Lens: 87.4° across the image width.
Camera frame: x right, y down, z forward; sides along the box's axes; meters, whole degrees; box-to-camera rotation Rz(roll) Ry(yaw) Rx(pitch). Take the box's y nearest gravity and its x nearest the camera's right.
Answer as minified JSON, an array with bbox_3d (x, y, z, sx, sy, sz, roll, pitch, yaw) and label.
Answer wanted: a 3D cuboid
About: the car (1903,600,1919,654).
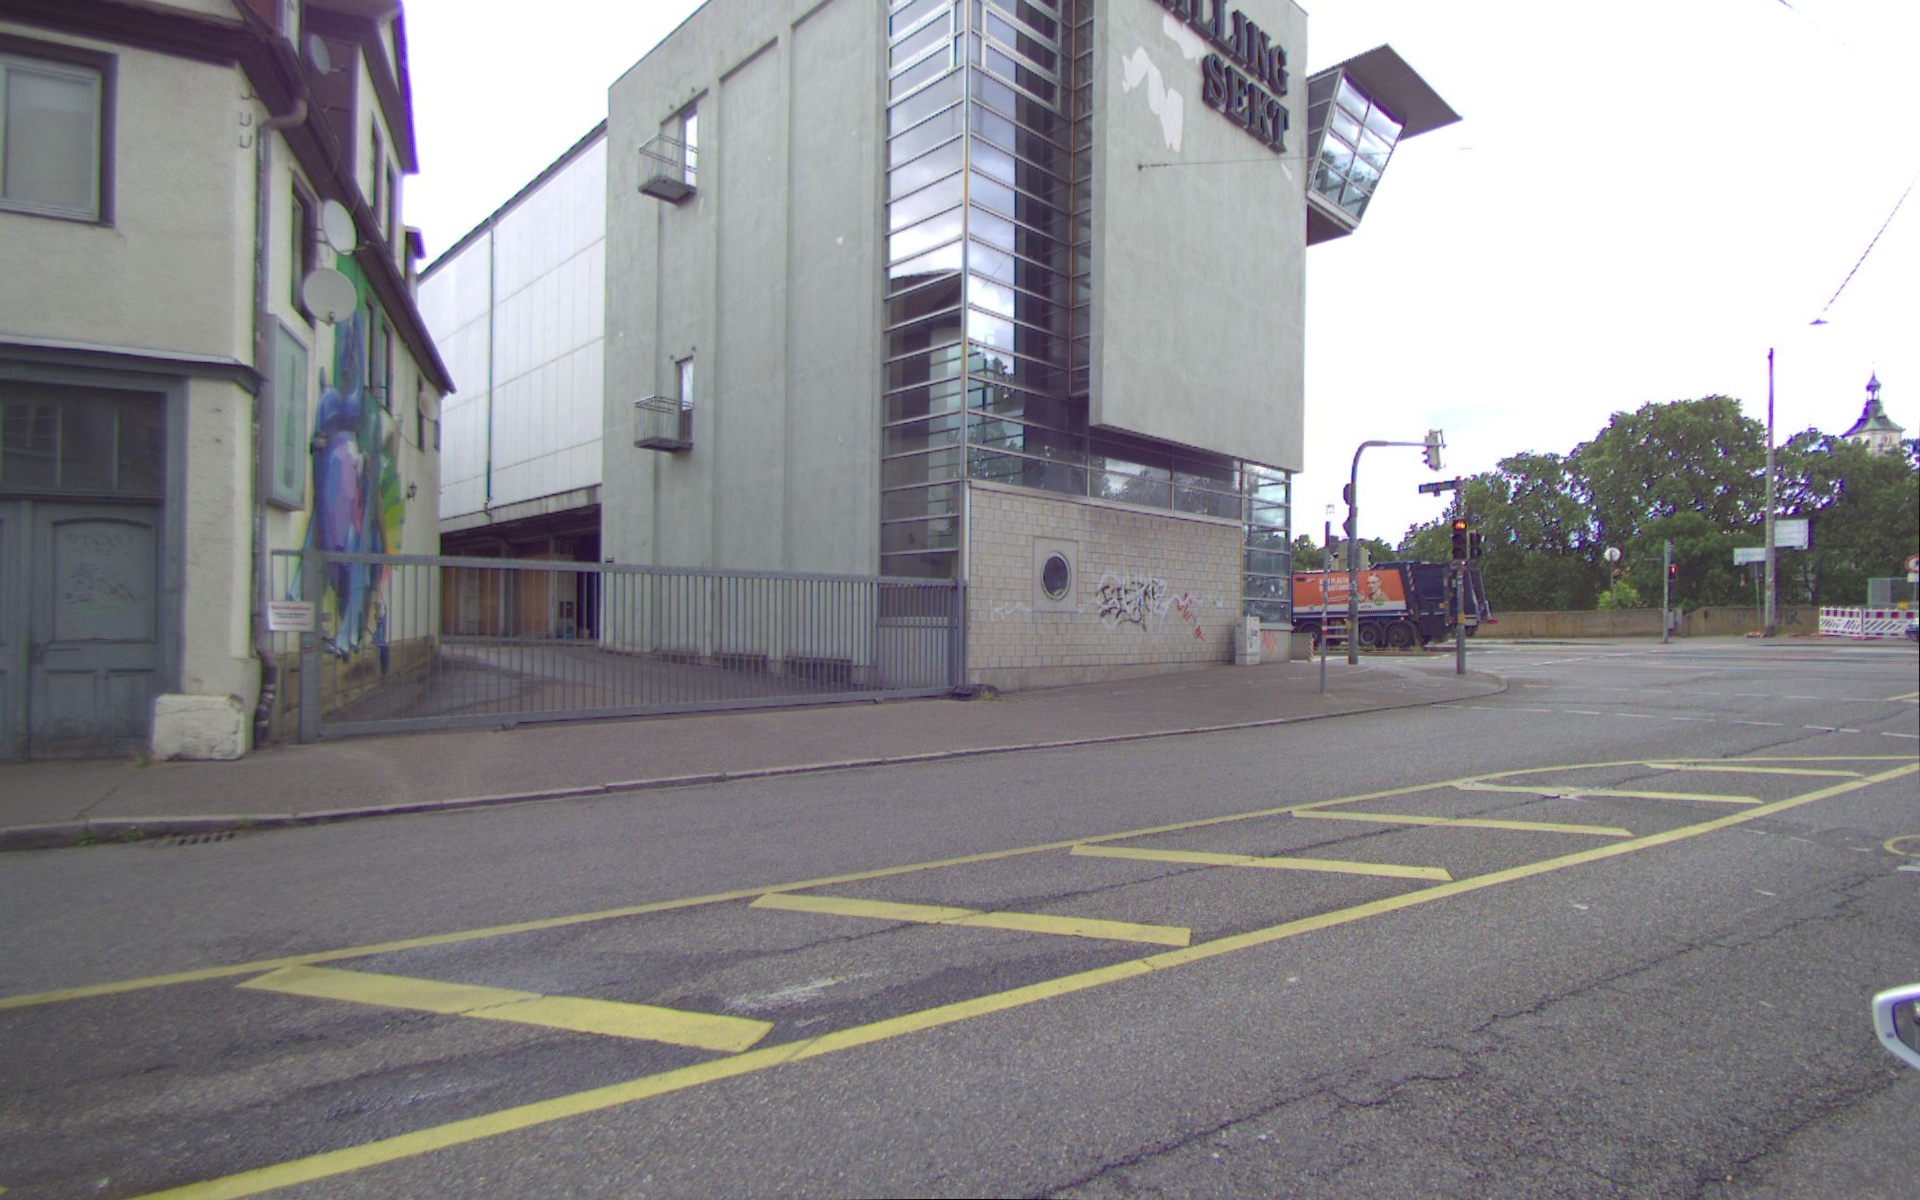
[{"bbox_3d":[31.596,0.813,30.280,1.986,1.655,4.477,2,-3,-43],"label":"car"}]

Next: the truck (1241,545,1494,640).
[{"bbox_3d":[17.466,-0.290,43.818,10.071,3.745,2.259,0,-1,42],"label":"truck"}]
